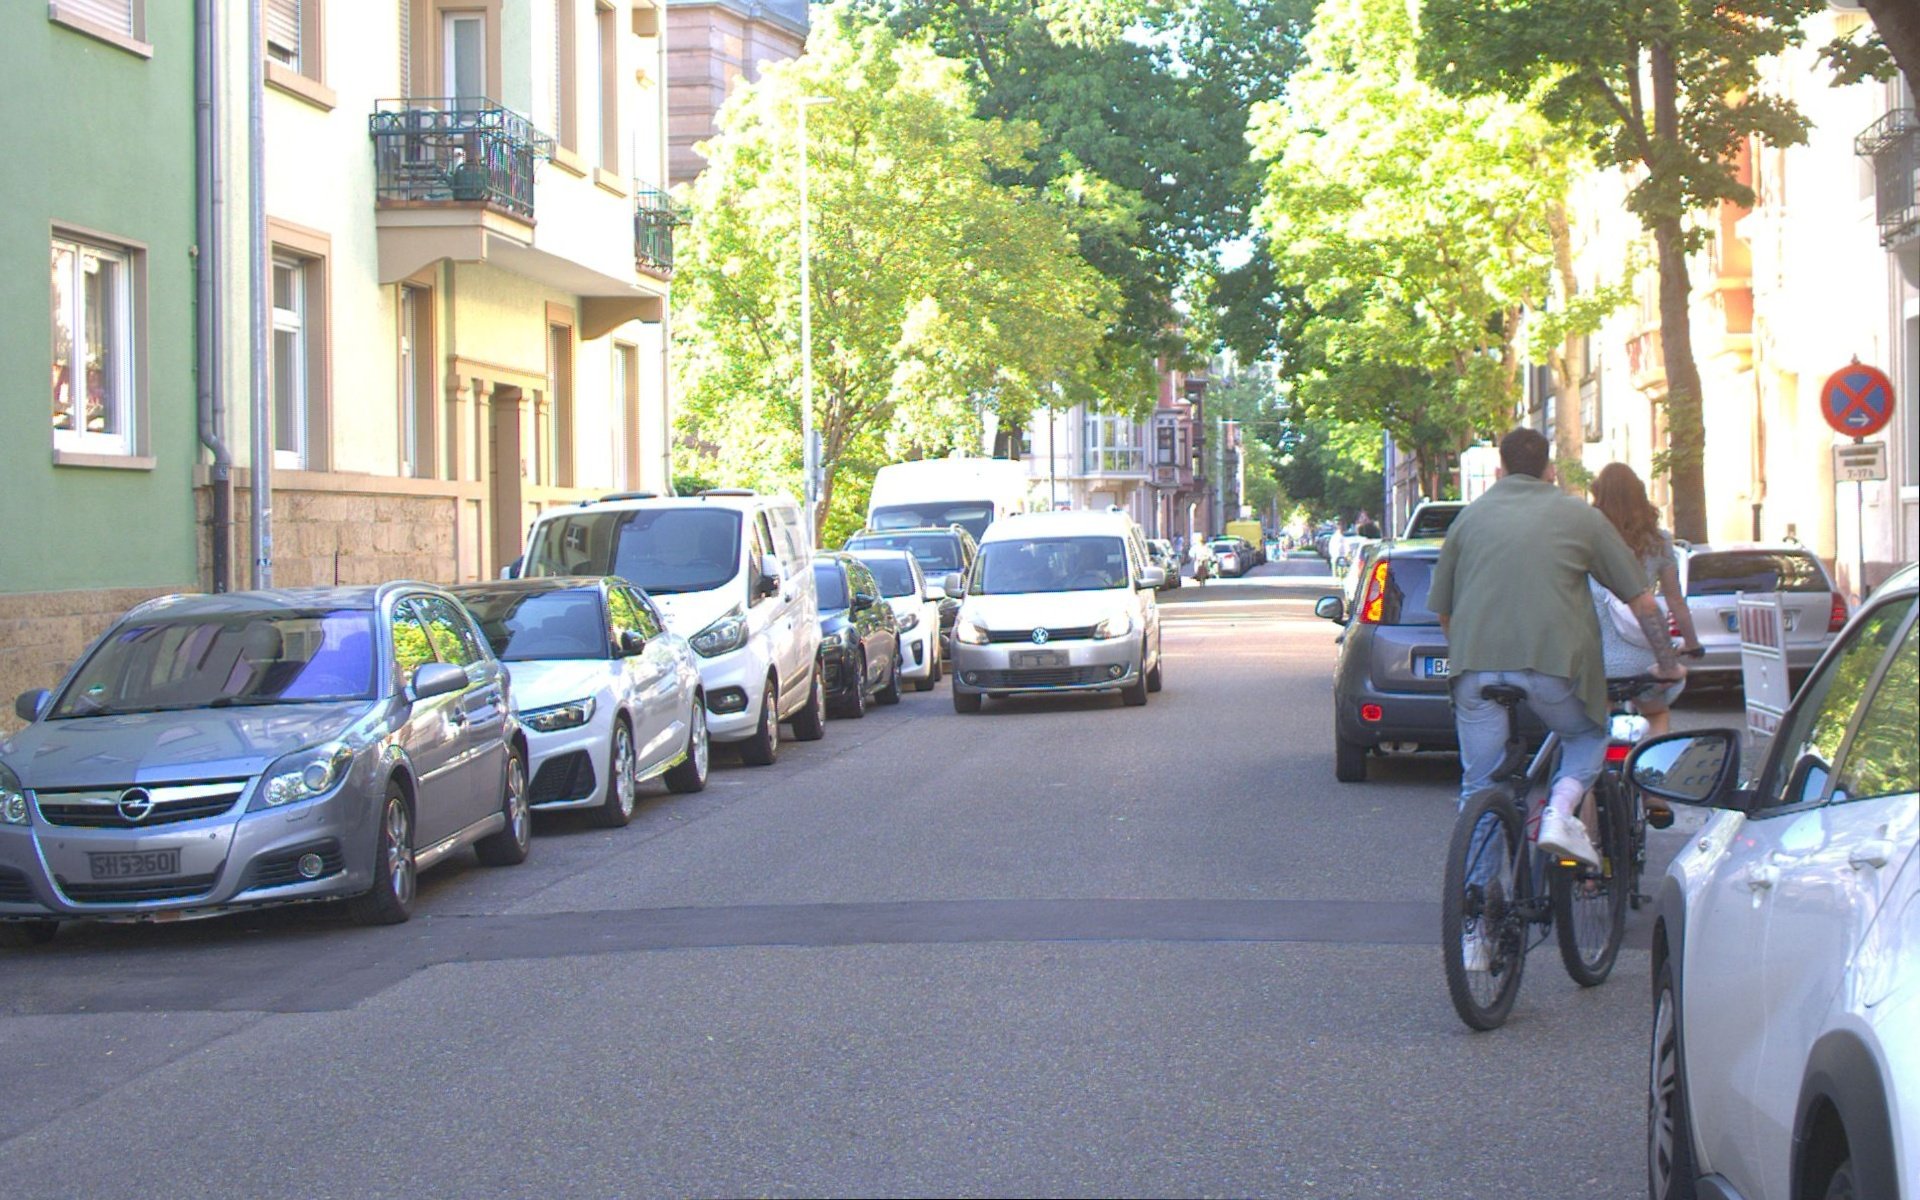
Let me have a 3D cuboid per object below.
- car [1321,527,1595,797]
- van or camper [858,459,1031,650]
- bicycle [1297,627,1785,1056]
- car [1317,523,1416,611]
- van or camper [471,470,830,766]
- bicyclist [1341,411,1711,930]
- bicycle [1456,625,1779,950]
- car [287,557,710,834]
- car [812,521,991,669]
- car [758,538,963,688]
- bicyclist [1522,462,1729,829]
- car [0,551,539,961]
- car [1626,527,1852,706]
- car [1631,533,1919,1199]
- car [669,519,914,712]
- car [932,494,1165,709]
[{"bbox_3d":[3.184,0.332,22.215,1.557,1.527,3.486,2,2,7],"label":"car"},{"bbox_3d":[-0.157,-0.663,48.640,1.994,2.544,5.022,-1,1,5],"label":"van or camper"},{"bbox_3d":[1.930,0.707,11.101,0.840,1.145,2.229,3,2,28],"label":"bicycle"},{"bbox_3d":[7.818,-0.658,66.349,1.687,1.599,4.000,-1,1,4],"label":"car"},{"bbox_3d":[-2.233,0.080,26.220,1.994,2.007,4.911,-1,1,3],"label":"van or camper"},{"bbox_3d":[1.803,0.233,10.913,0.883,1.556,0.866,-2,-3,30],"label":"bicyclist"},{"bbox_3d":[2.603,0.675,13.389,0.840,1.145,2.230,0,0,21],"label":"bicycle"},{"bbox_3d":[-2.651,0.500,20.541,1.687,1.448,3.710,-1,1,5],"label":"car"},{"bbox_3d":[-0.655,-0.106,41.743,1.711,1.693,3.999,0,1,6],"label":"car"},{"bbox_3d":[-1.017,0.101,37.185,1.711,1.499,3.999,0,1,6],"label":"car"},{"bbox_3d":[2.604,0.197,13.420,0.623,1.376,0.867,-2,-4,21],"label":"bicyclist"},{"bbox_3d":[-3.275,0.604,15.417,1.979,1.450,4.113,-5,1,3],"label":"car"},{"bbox_3d":[6.747,0.098,30.043,1.557,1.404,3.380,2,2,7],"label":"car"},{"bbox_3d":[2.142,0.673,5.735,1.675,1.540,3.403,1,1,6],"label":"car"},{"bbox_3d":[-1.506,0.089,32.143,1.711,1.678,3.999,0,1,6],"label":"car"},{"bbox_3d":[0.906,-0.019,32.591,1.782,1.854,4.198,-2,1,7],"label":"car"}]
